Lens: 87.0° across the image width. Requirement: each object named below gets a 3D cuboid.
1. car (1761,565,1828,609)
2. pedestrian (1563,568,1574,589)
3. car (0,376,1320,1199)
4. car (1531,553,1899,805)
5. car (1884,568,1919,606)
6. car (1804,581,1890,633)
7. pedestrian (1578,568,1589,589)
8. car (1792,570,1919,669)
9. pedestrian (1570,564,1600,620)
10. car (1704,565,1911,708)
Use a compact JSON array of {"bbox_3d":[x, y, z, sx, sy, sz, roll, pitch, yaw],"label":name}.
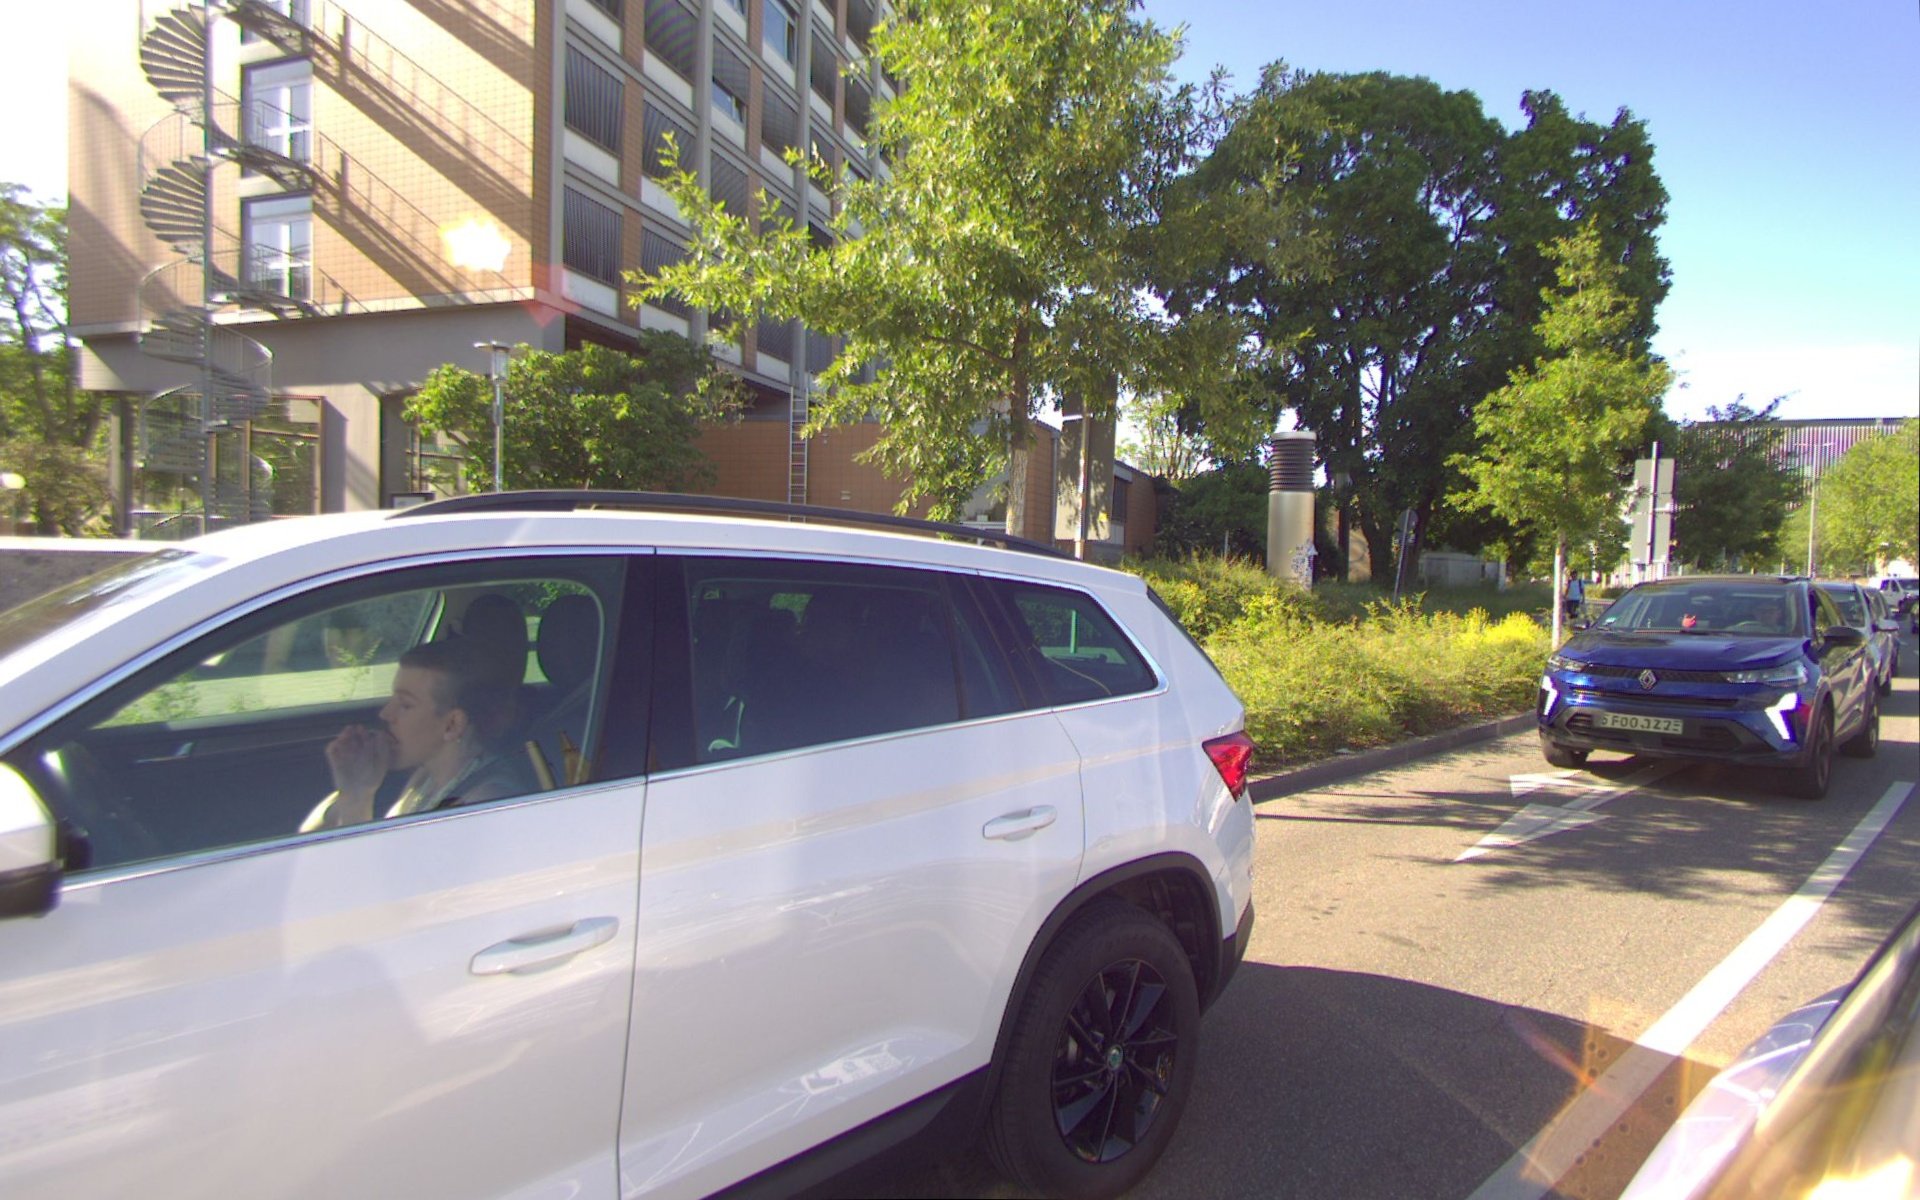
[{"bbox_3d":[37.677,-0.593,45.787,1.815,1.876,3.709,2,2,32],"label":"car"},{"bbox_3d":[56.390,-2.010,93.799,0.815,1.941,0.764,0,0,30],"label":"pedestrian"},{"bbox_3d":[-1.111,0.555,2.172,4.222,1.662,1.698,-1,2,-41],"label":"car"},{"bbox_3d":[6.471,0.472,8.505,4.014,1.625,1.703,-1,2,-42],"label":"car"},{"bbox_3d":[52.709,-0.740,55.408,1.767,2.038,4.202,0,1,22],"label":"car"},{"bbox_3d":[27.662,0.173,31.667,1.743,1.494,3.527,0,1,37],"label":"car"},{"bbox_3d":[57.467,-2.011,93.271,0.815,1.941,0.764,0,0,30],"label":"pedestrian"},{"bbox_3d":[16.673,0.290,18.823,1.646,1.630,3.436,2,2,43],"label":"car"},{"bbox_3d":[18.550,-0.246,30.014,0.688,1.624,0.653,2,2,35],"label":"pedestrian"},{"bbox_3d":[11.628,0.378,13.795,3.978,1.644,1.782,-1,2,-45],"label":"car"}]
